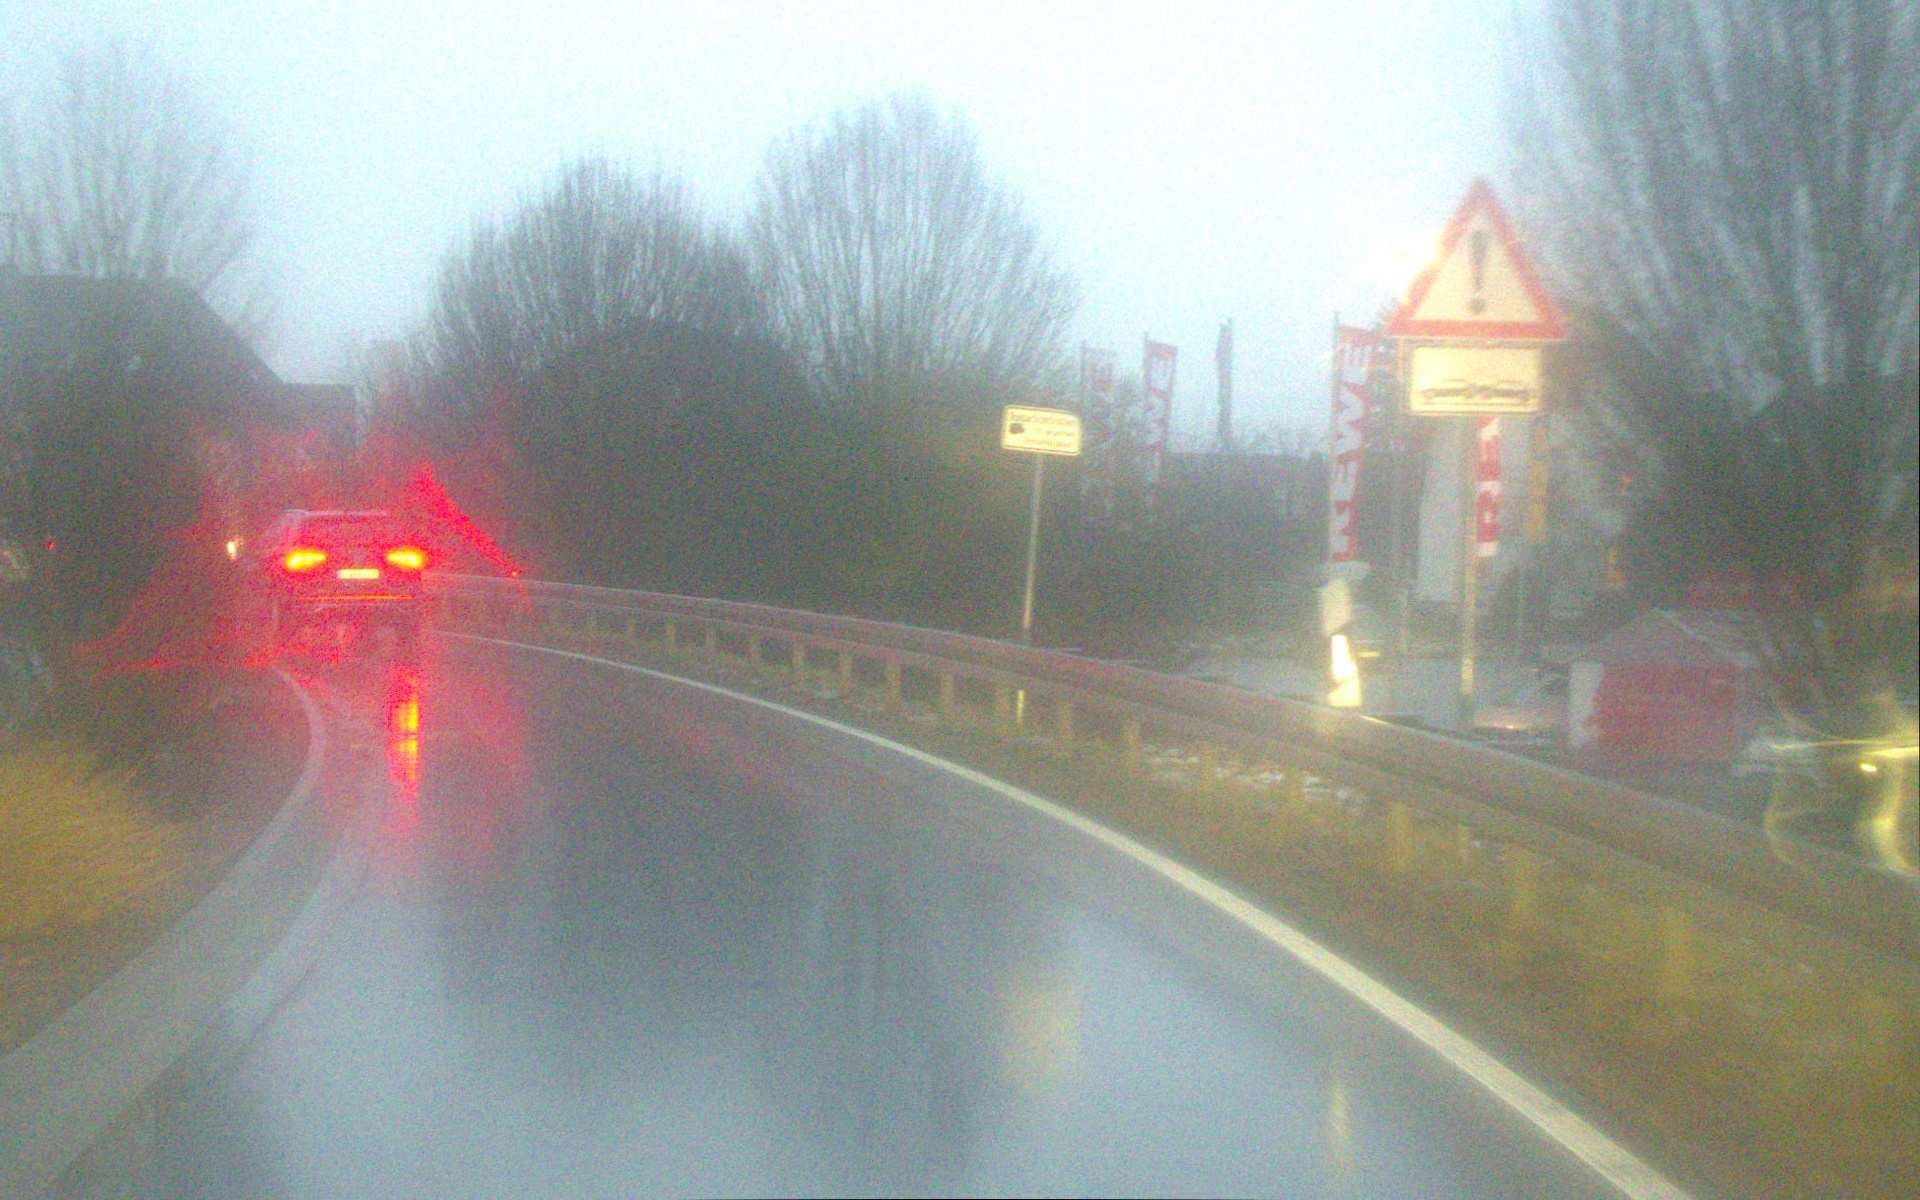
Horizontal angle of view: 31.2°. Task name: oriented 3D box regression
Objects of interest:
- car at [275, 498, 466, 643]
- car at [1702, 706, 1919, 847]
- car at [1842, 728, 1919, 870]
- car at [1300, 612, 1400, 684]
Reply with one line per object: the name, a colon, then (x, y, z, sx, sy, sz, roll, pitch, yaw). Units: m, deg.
car: (-7.589, -0.377, 43.993, 1.944, 1.712, 4.001, 2, 0, -16)
car: (10.709, 2.093, 41.583, 1.795, 1.434, 3.991, 1, 1, 39)
car: (11.502, 2.179, 38.501, 1.630, 1.415, 3.991, 1, 1, 39)
car: (9.086, 1.107, 80.377, 1.937, 1.541, 4.000, 1, 1, 1)
